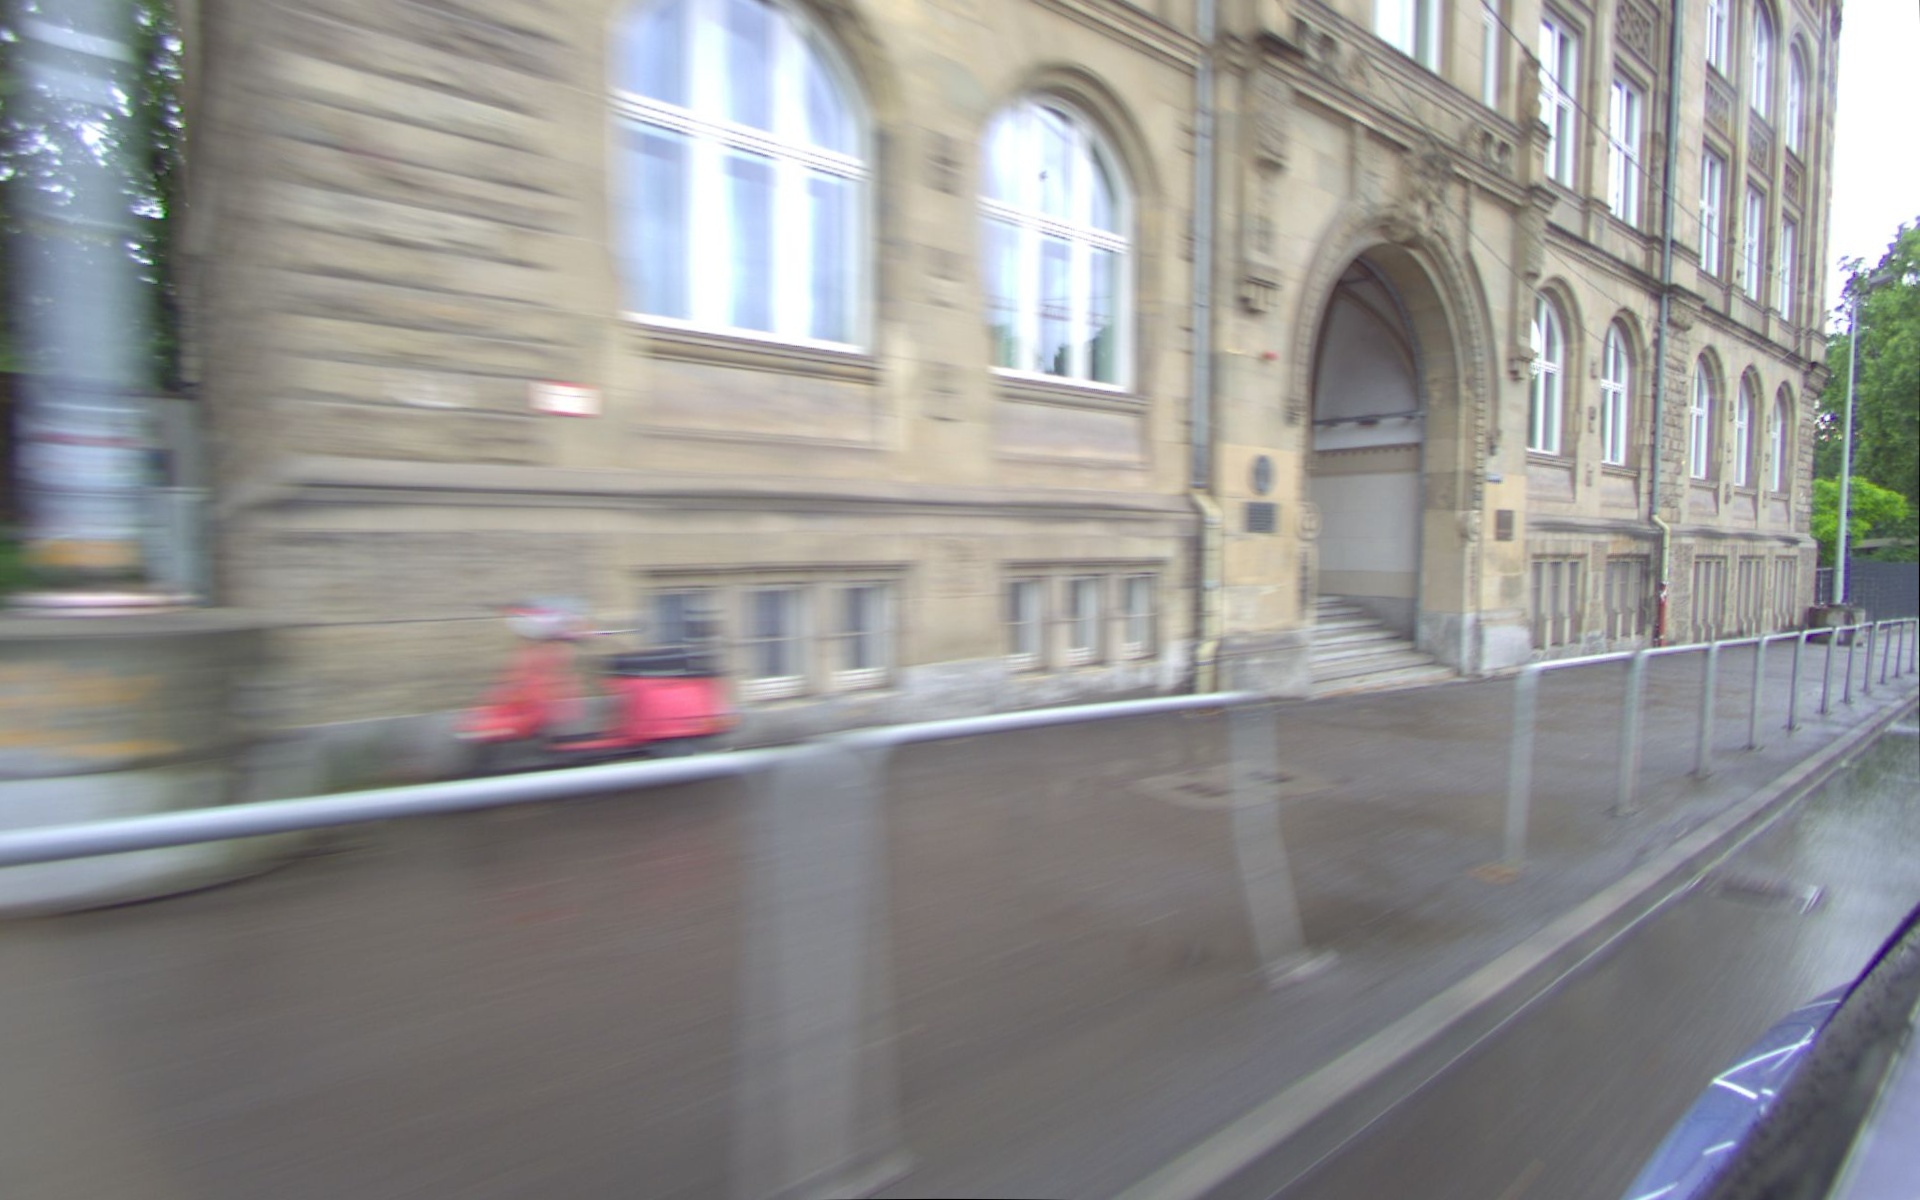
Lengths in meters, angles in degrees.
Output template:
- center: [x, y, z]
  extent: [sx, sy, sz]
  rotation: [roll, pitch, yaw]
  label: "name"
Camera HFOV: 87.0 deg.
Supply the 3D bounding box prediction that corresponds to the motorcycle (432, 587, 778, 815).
- center: [-2.045, 0.513, 6.018]
  extent: [1.866, 1.152, 0.547]
  rotation: [0, 2, -41]
  label: "motorcycle"
